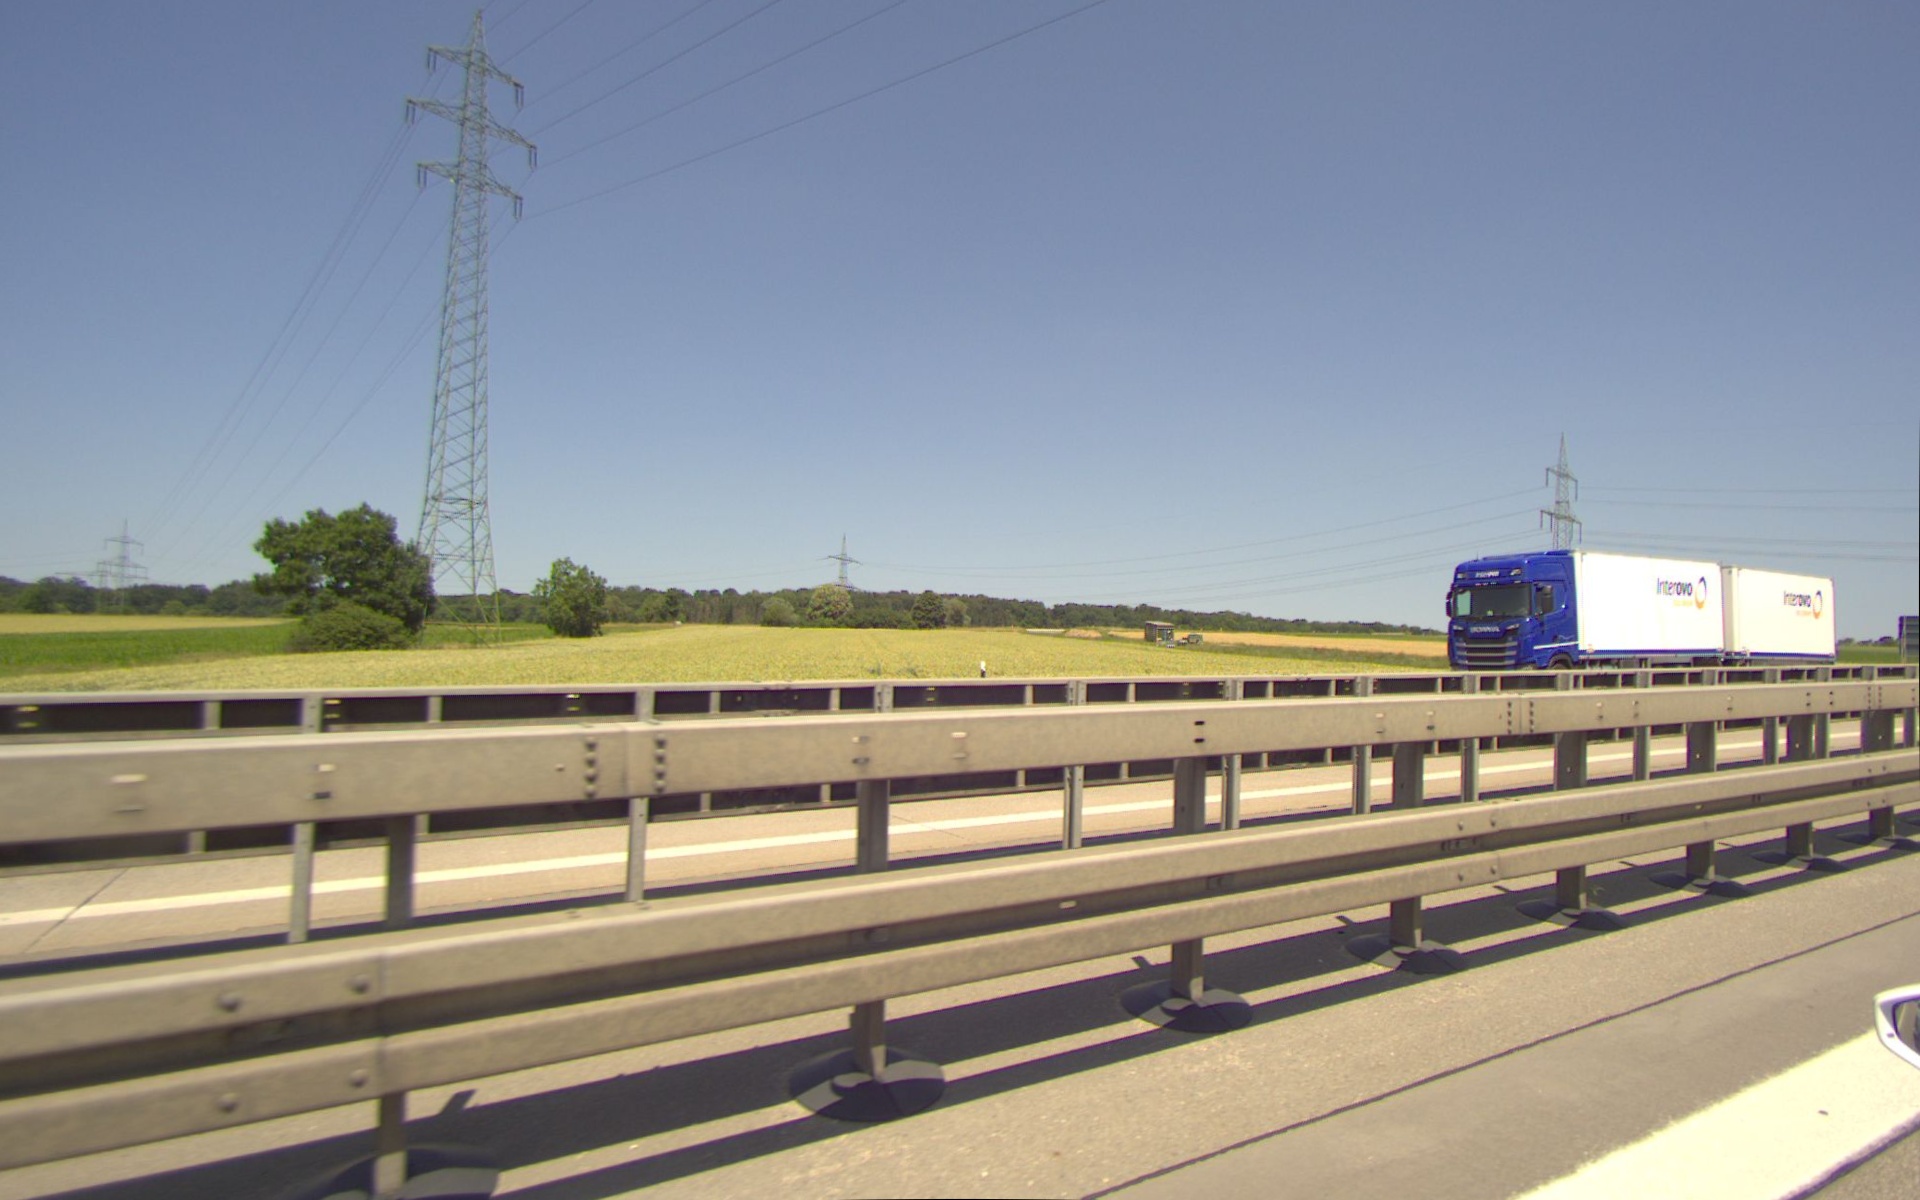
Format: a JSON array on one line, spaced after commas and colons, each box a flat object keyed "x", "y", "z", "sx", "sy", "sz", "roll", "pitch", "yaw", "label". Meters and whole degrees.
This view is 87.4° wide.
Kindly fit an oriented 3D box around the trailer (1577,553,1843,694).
[{"x": 25.178, "y": 0.845, "z": 33.428, "sx": 11.530, "sy": 4.100, "sz": 2.819, "roll": 2, "pitch": 0, "yaw": -31, "label": "trailer"}]

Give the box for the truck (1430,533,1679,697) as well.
[{"x": 16.986, "y": 0.486, "z": 28.550, "sx": 7.444, "sy": 4.144, "sz": 2.807, "roll": 2, "pitch": 0, "yaw": -31, "label": "truck"}]
